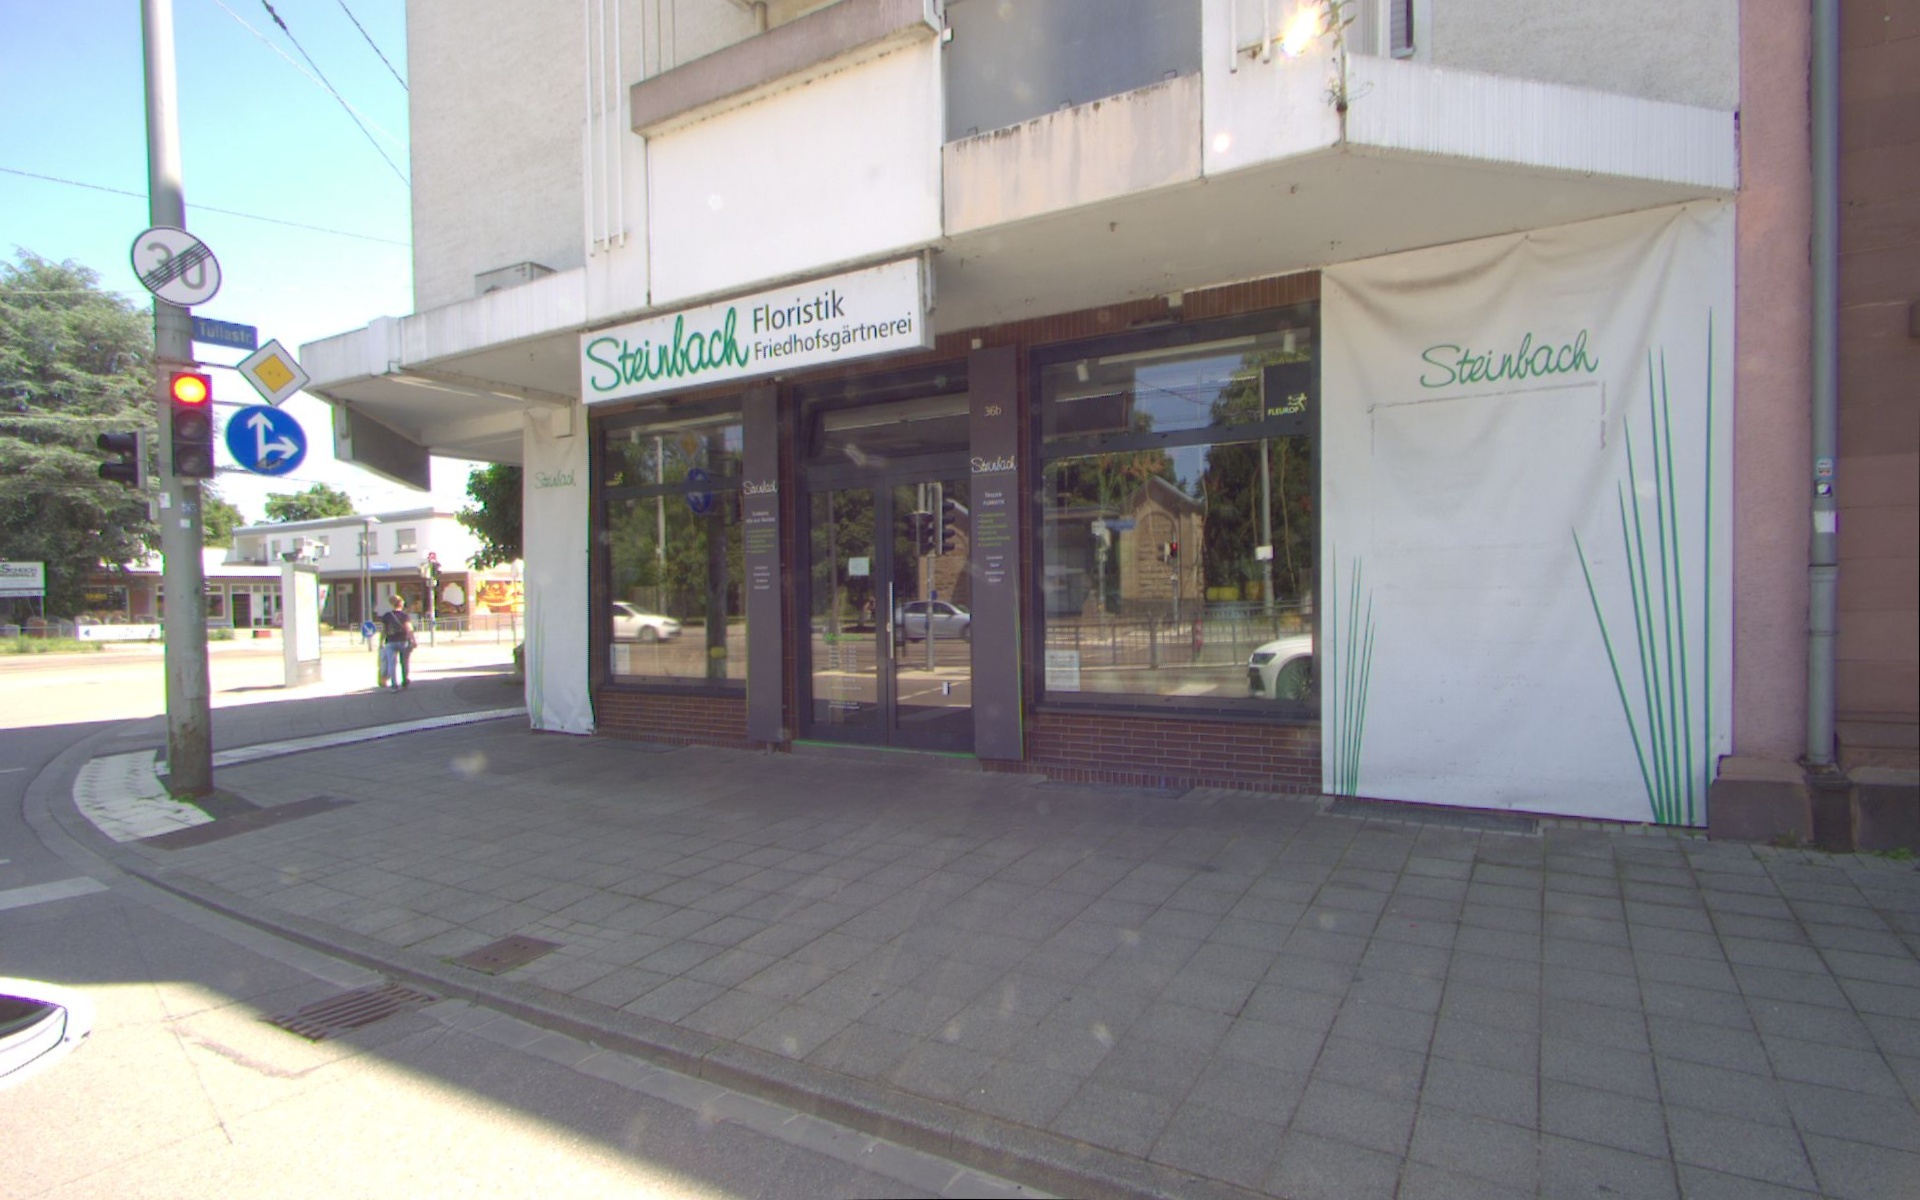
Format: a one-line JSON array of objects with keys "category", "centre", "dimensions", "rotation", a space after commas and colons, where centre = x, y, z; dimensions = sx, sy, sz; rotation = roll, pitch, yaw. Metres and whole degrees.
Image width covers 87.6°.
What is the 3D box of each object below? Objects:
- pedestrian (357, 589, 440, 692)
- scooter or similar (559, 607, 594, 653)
[{"category": "pedestrian", "centre": [-9.258, 0.649, 16.520], "dimensions": [0.816, 1.606, 0.822], "rotation": [0, 4, 38]}, {"category": "scooter or similar", "centre": [-10.482, 0.818, 27.394], "dimensions": [0.387, 1.229, 1.255], "rotation": [-1, 0, 5]}]
